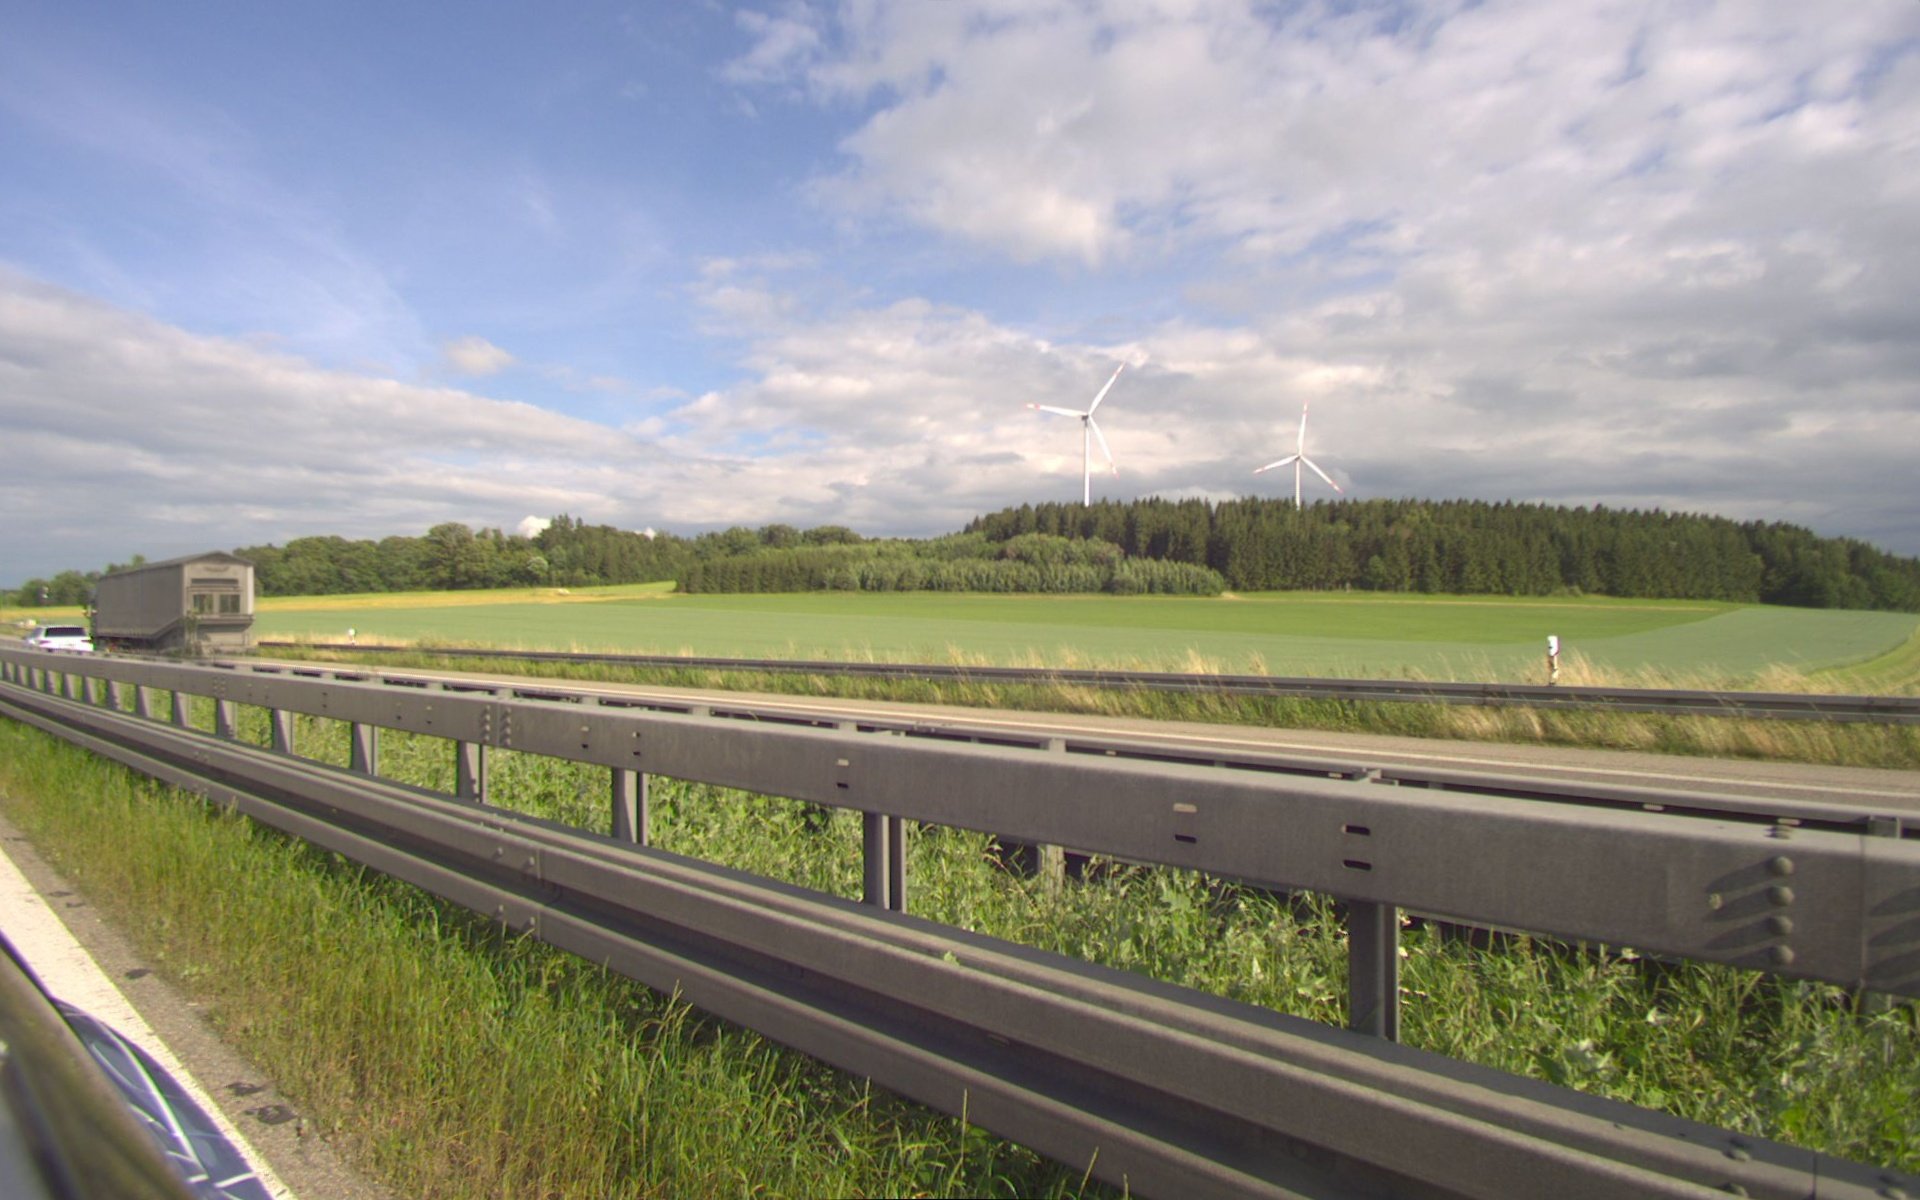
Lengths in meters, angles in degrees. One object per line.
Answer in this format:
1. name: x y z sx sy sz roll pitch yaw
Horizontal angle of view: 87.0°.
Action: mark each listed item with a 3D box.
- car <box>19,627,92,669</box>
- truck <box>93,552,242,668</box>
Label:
1. car: -35.736 1.838 39.966 3.998 1.502 1.686 -1 0 41
2. truck: -36.407 0.450 46.178 13.416 4.669 2.850 -1 0 41
